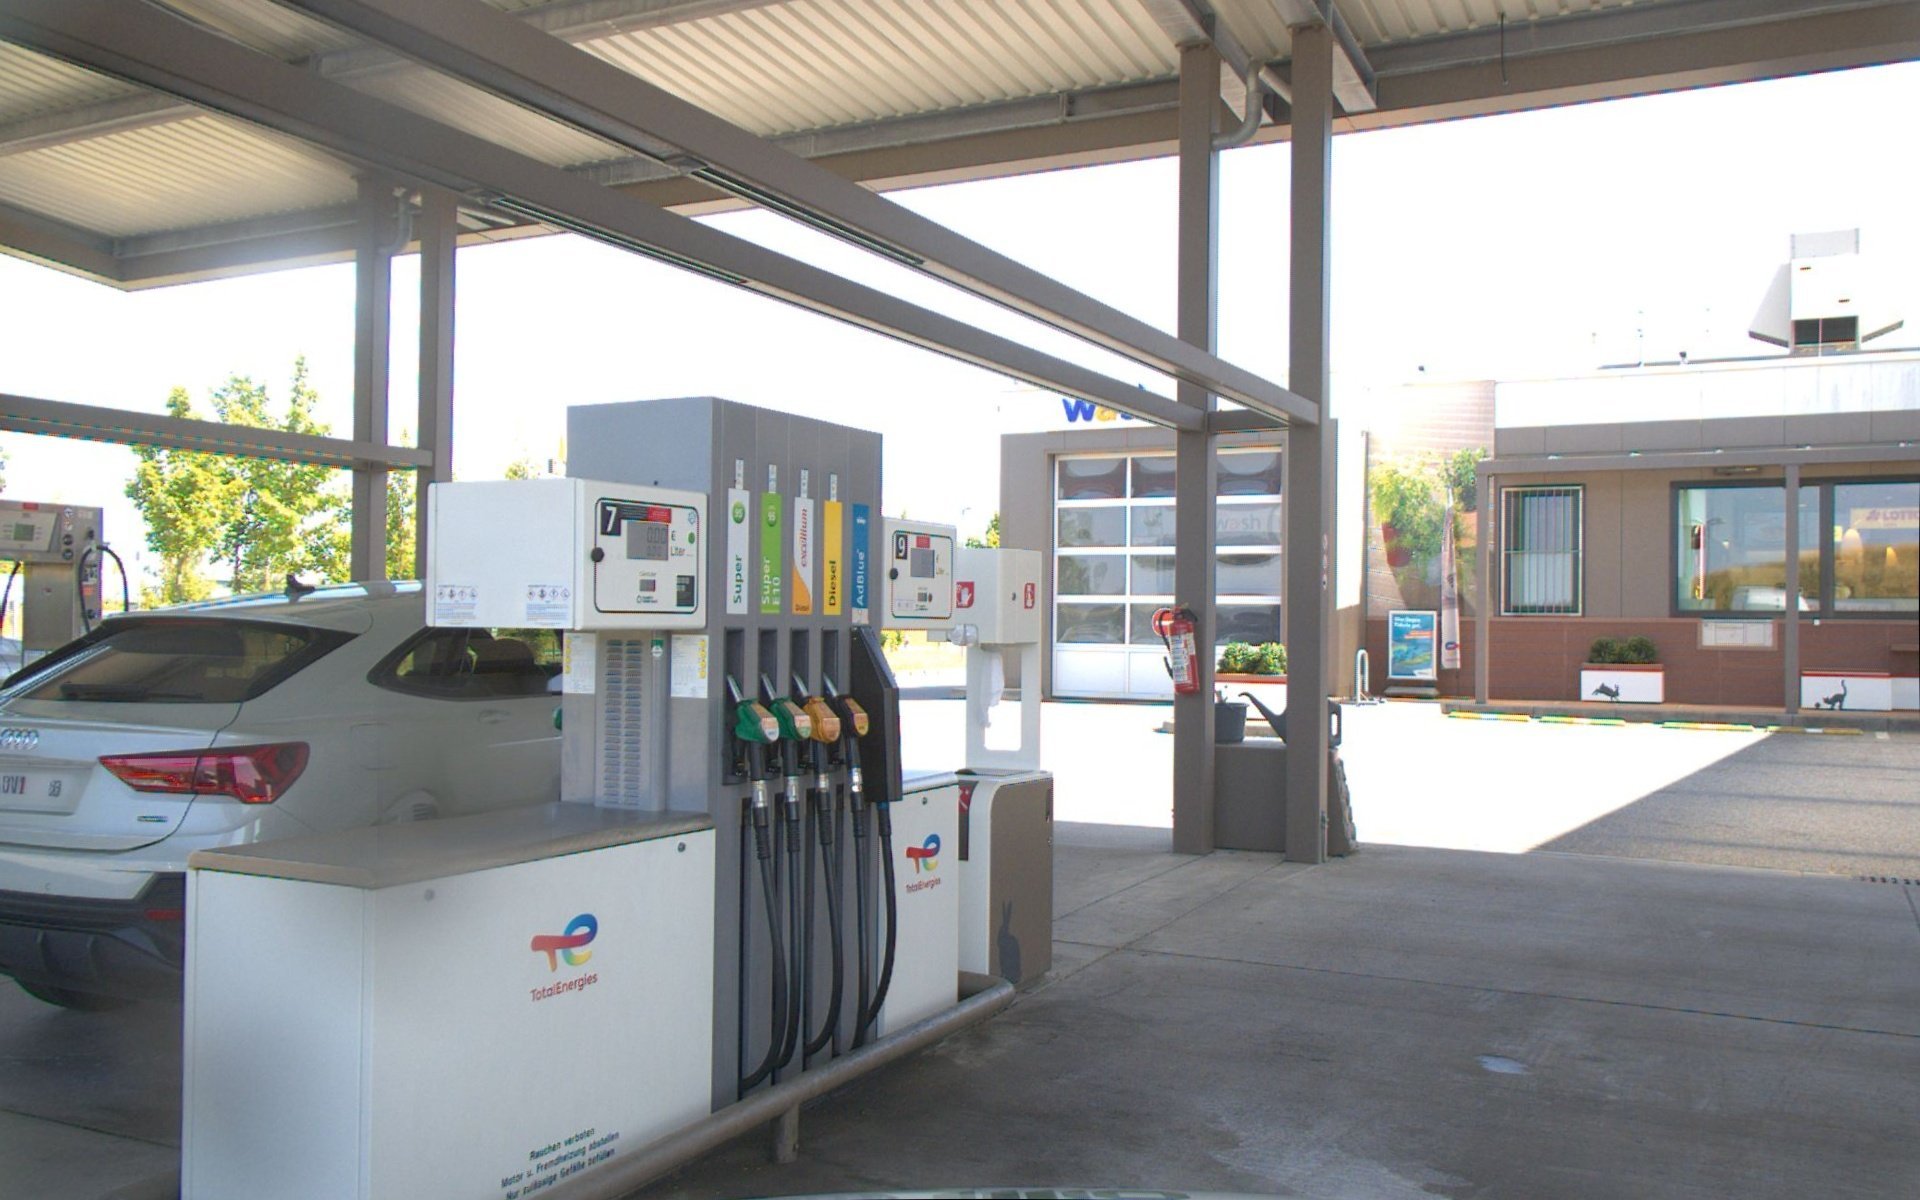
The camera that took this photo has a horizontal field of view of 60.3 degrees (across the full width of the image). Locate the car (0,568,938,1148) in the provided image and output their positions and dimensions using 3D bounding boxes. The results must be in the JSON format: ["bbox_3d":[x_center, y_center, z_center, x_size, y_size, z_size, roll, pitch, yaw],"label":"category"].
[{"bbox_3d":[-1.872,0.708,6.814,1.746,1.568,4.320,0,0,27],"label":"car"}]

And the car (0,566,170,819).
[{"bbox_3d":[-7.691,0.630,10.779,1.822,1.717,4.534,0,0,23],"label":"car"}]
